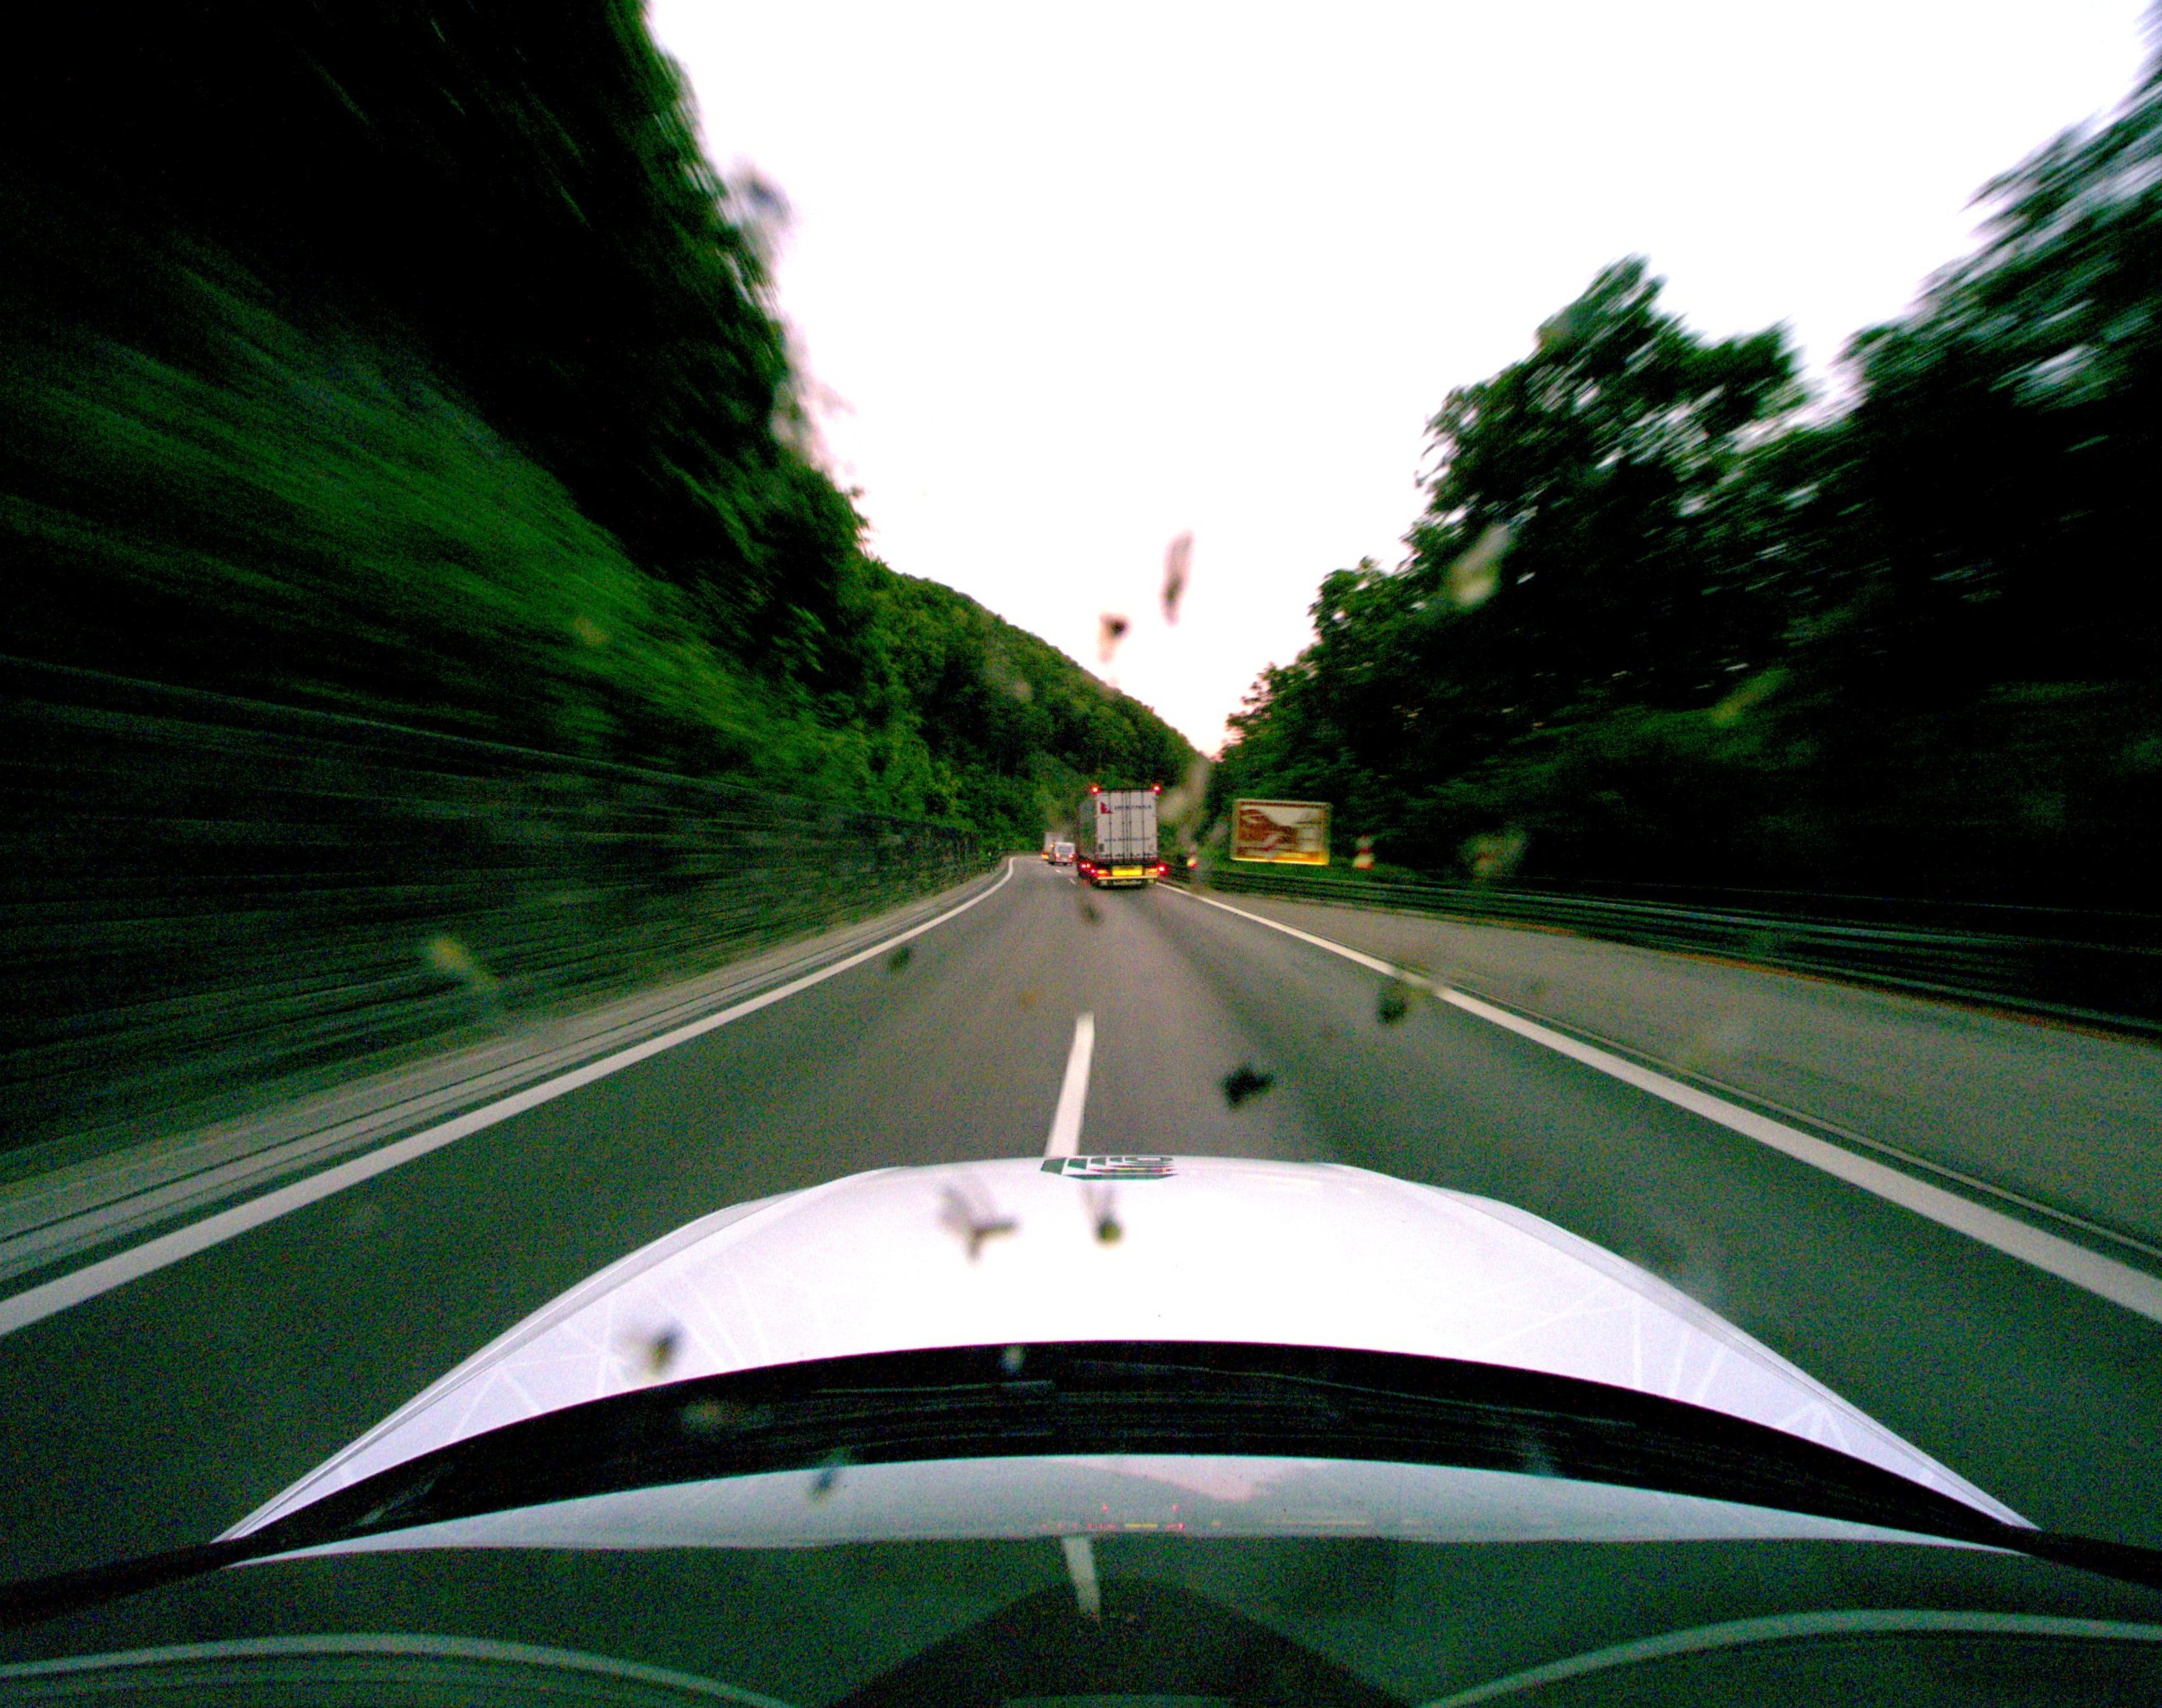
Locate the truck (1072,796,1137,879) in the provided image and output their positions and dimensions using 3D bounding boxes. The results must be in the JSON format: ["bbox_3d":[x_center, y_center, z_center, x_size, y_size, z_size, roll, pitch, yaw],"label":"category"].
[{"bbox_3d":[1.160,-0.923,44.875,3.061,4.144,6.442,-2,1,-2],"label":"truck"}]

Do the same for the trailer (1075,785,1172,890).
[{"bbox_3d":[1.577,-0.829,38.389,3.090,3.969,14.204,-1,1,-3],"label":"trailer"}]

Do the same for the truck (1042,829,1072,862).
[{"bbox_3d":[-3.214,-1.000,115.929,3.283,4.173,16.505,2,-1,1],"label":"truck"}]

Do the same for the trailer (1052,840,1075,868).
[{"bbox_3d":[-1.711,-0.056,80.626,2.049,2.374,5.936,6,1,-1],"label":"trailer"}]
